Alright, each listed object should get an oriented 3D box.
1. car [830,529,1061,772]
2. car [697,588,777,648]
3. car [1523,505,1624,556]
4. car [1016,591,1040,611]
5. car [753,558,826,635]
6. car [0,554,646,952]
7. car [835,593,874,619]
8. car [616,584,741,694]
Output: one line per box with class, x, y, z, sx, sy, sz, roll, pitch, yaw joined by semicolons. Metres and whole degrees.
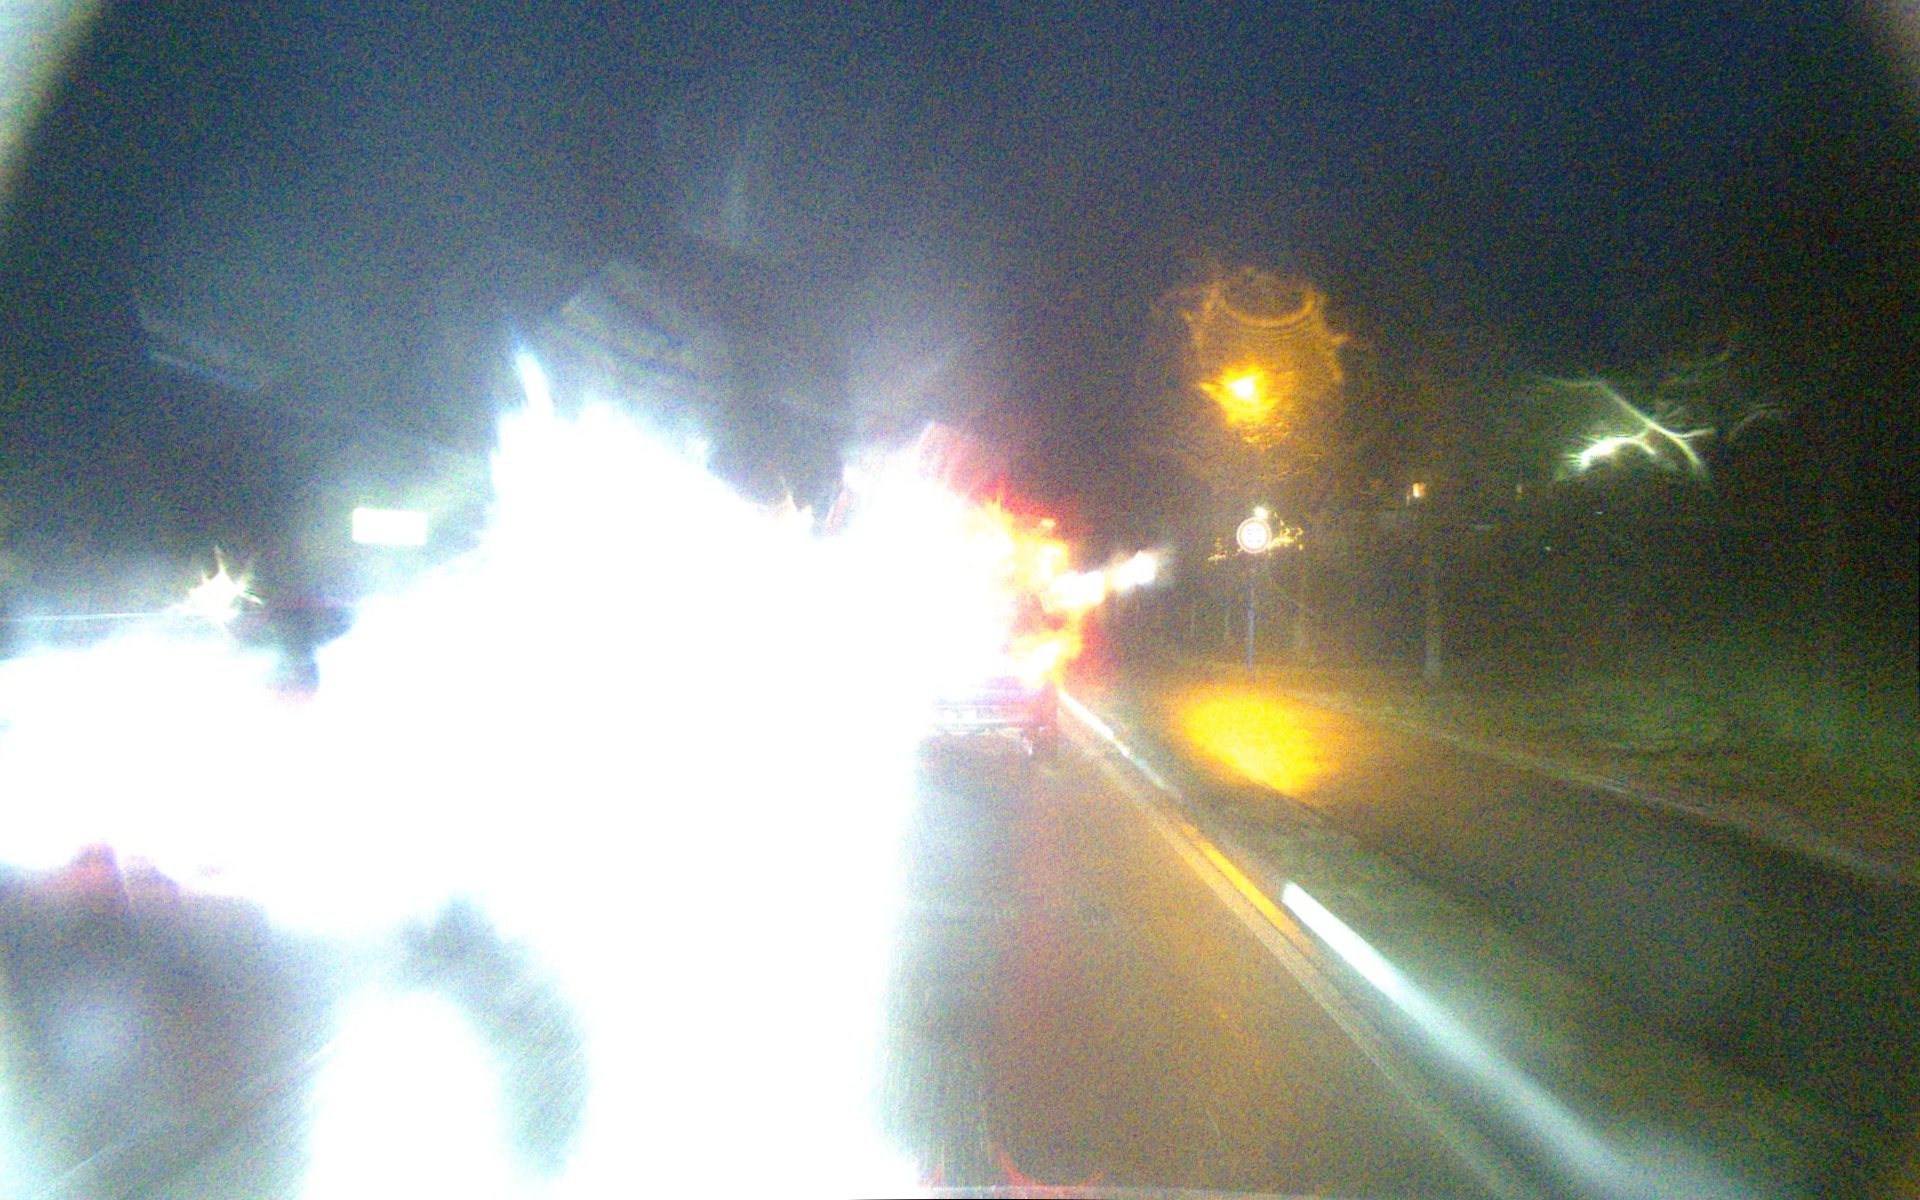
car;-0.167;0.410;15.896;1.903;2.006;4.217;1;0;-2
car;-6.299;0.483;47.178;1.685;1.616;4.312;1;0;0
car;22.576;-2.536;61.045;1.585;1.669;3.986;1;0;-13
car;5.233;0.067;126.646;1.628;1.475;4.052;0;-1;6
car;-6.429;-0.128;62.962;2.079;2.755;6.240;1;0;0
car;-3.017;0.606;8.991;1.806;1.602;4.596;0;0;-1
car;-6.273;0.333;98.605;2.035;1.474;4.991;1;0;-1
car;-4.554;0.584;27.261;1.770;1.658;4.409;1;0;-7
